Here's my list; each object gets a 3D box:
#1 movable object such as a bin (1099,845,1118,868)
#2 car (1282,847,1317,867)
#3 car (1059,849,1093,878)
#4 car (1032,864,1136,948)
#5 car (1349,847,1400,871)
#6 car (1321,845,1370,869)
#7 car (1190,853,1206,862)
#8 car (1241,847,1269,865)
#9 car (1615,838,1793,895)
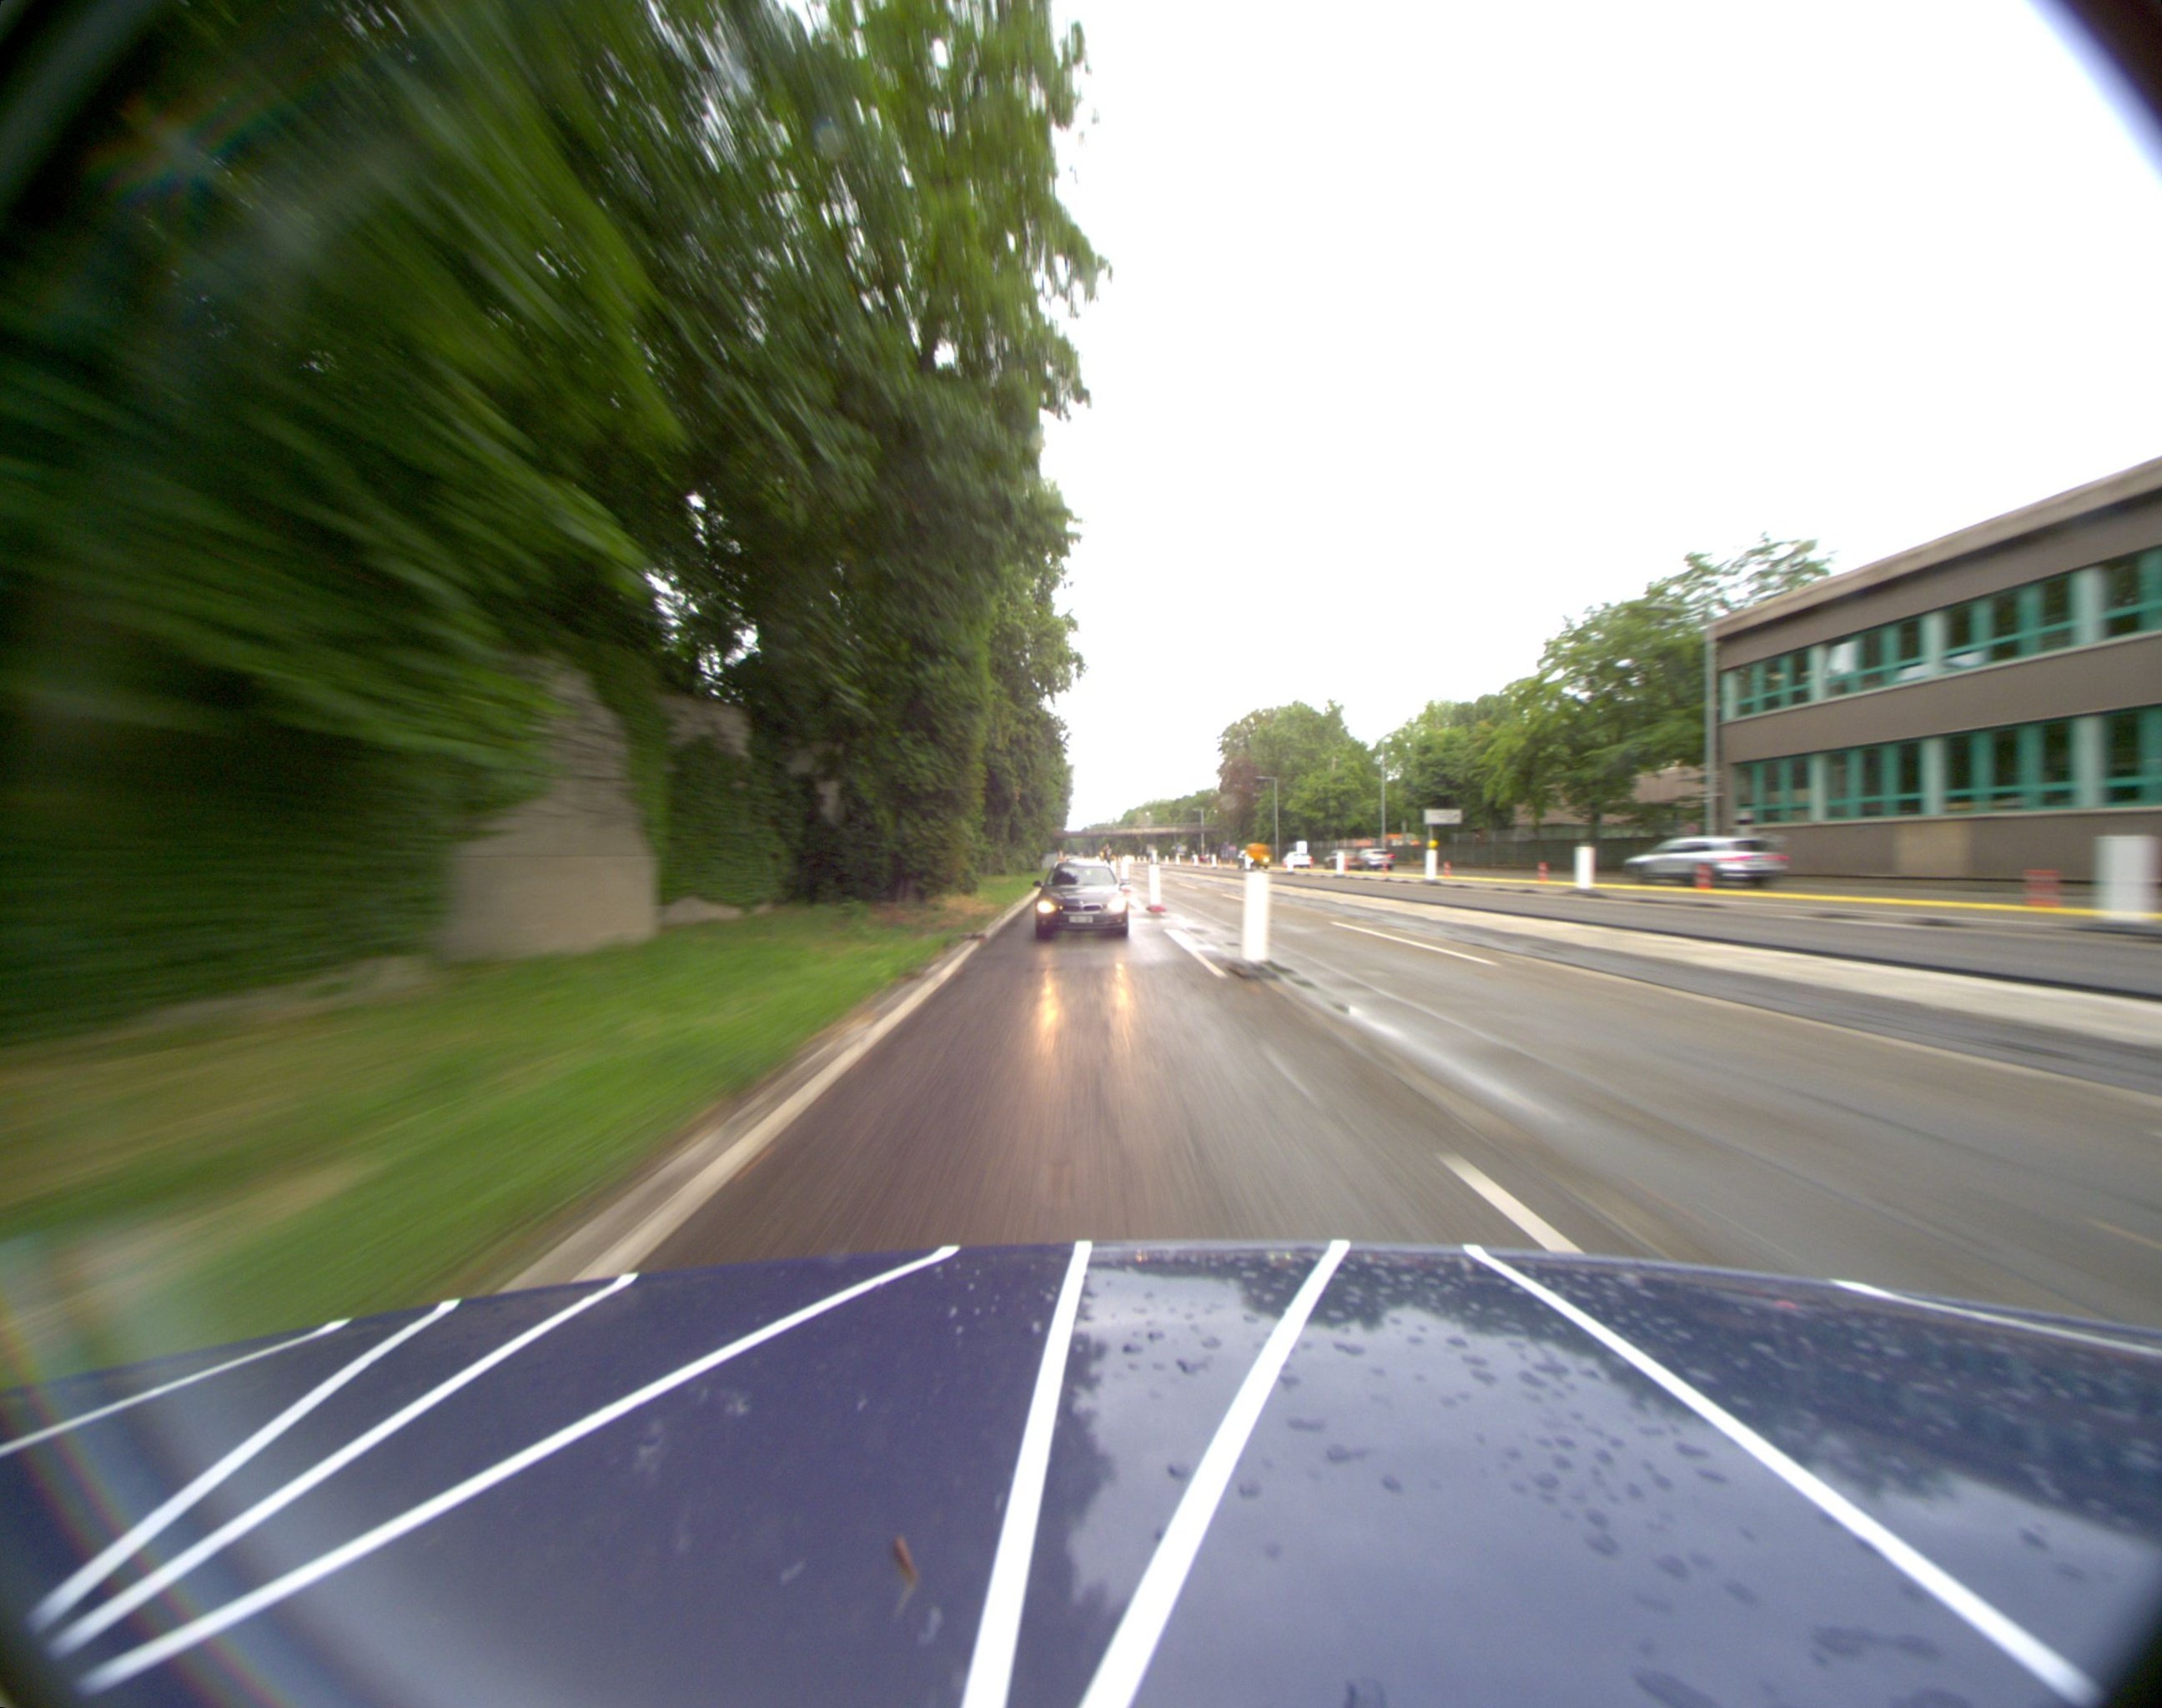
[{"bbox_3d":[5.721,0.514,159.970,3.527,4.495,10.069,-2,0,0],"label":"movable object such as a bin"},{"bbox_3d":[18.699,0.245,65.256,1.808,1.525,3.991,-2,0,0],"label":"car"},{"bbox_3d":[-0.300,0.579,47.523,1.999,1.650,4.229,-2,0,0],"label":"car"},{"bbox_3d":[-0.006,0.974,15.810,1.838,1.397,3.999,-2,0,-2],"label":"car"},{"bbox_3d":[21.188,0.361,54.952,1.999,1.577,4.179,-2,0,0],"label":"car"},{"bbox_3d":[18.290,0.201,52.724,1.898,1.493,4.516,-2,0,1],"label":"car"},{"bbox_3d":[20.673,0.602,134.002,1.999,1.421,4.265,-2,0,-1],"label":"car"},{"bbox_3d":[18.398,0.198,80.502,1.993,1.758,4.674,-2,0,1],"label":"car"},{"bbox_3d":[20.981,0.382,25.935,1.943,1.696,4.935,-2,0,-1],"label":"car"}]
